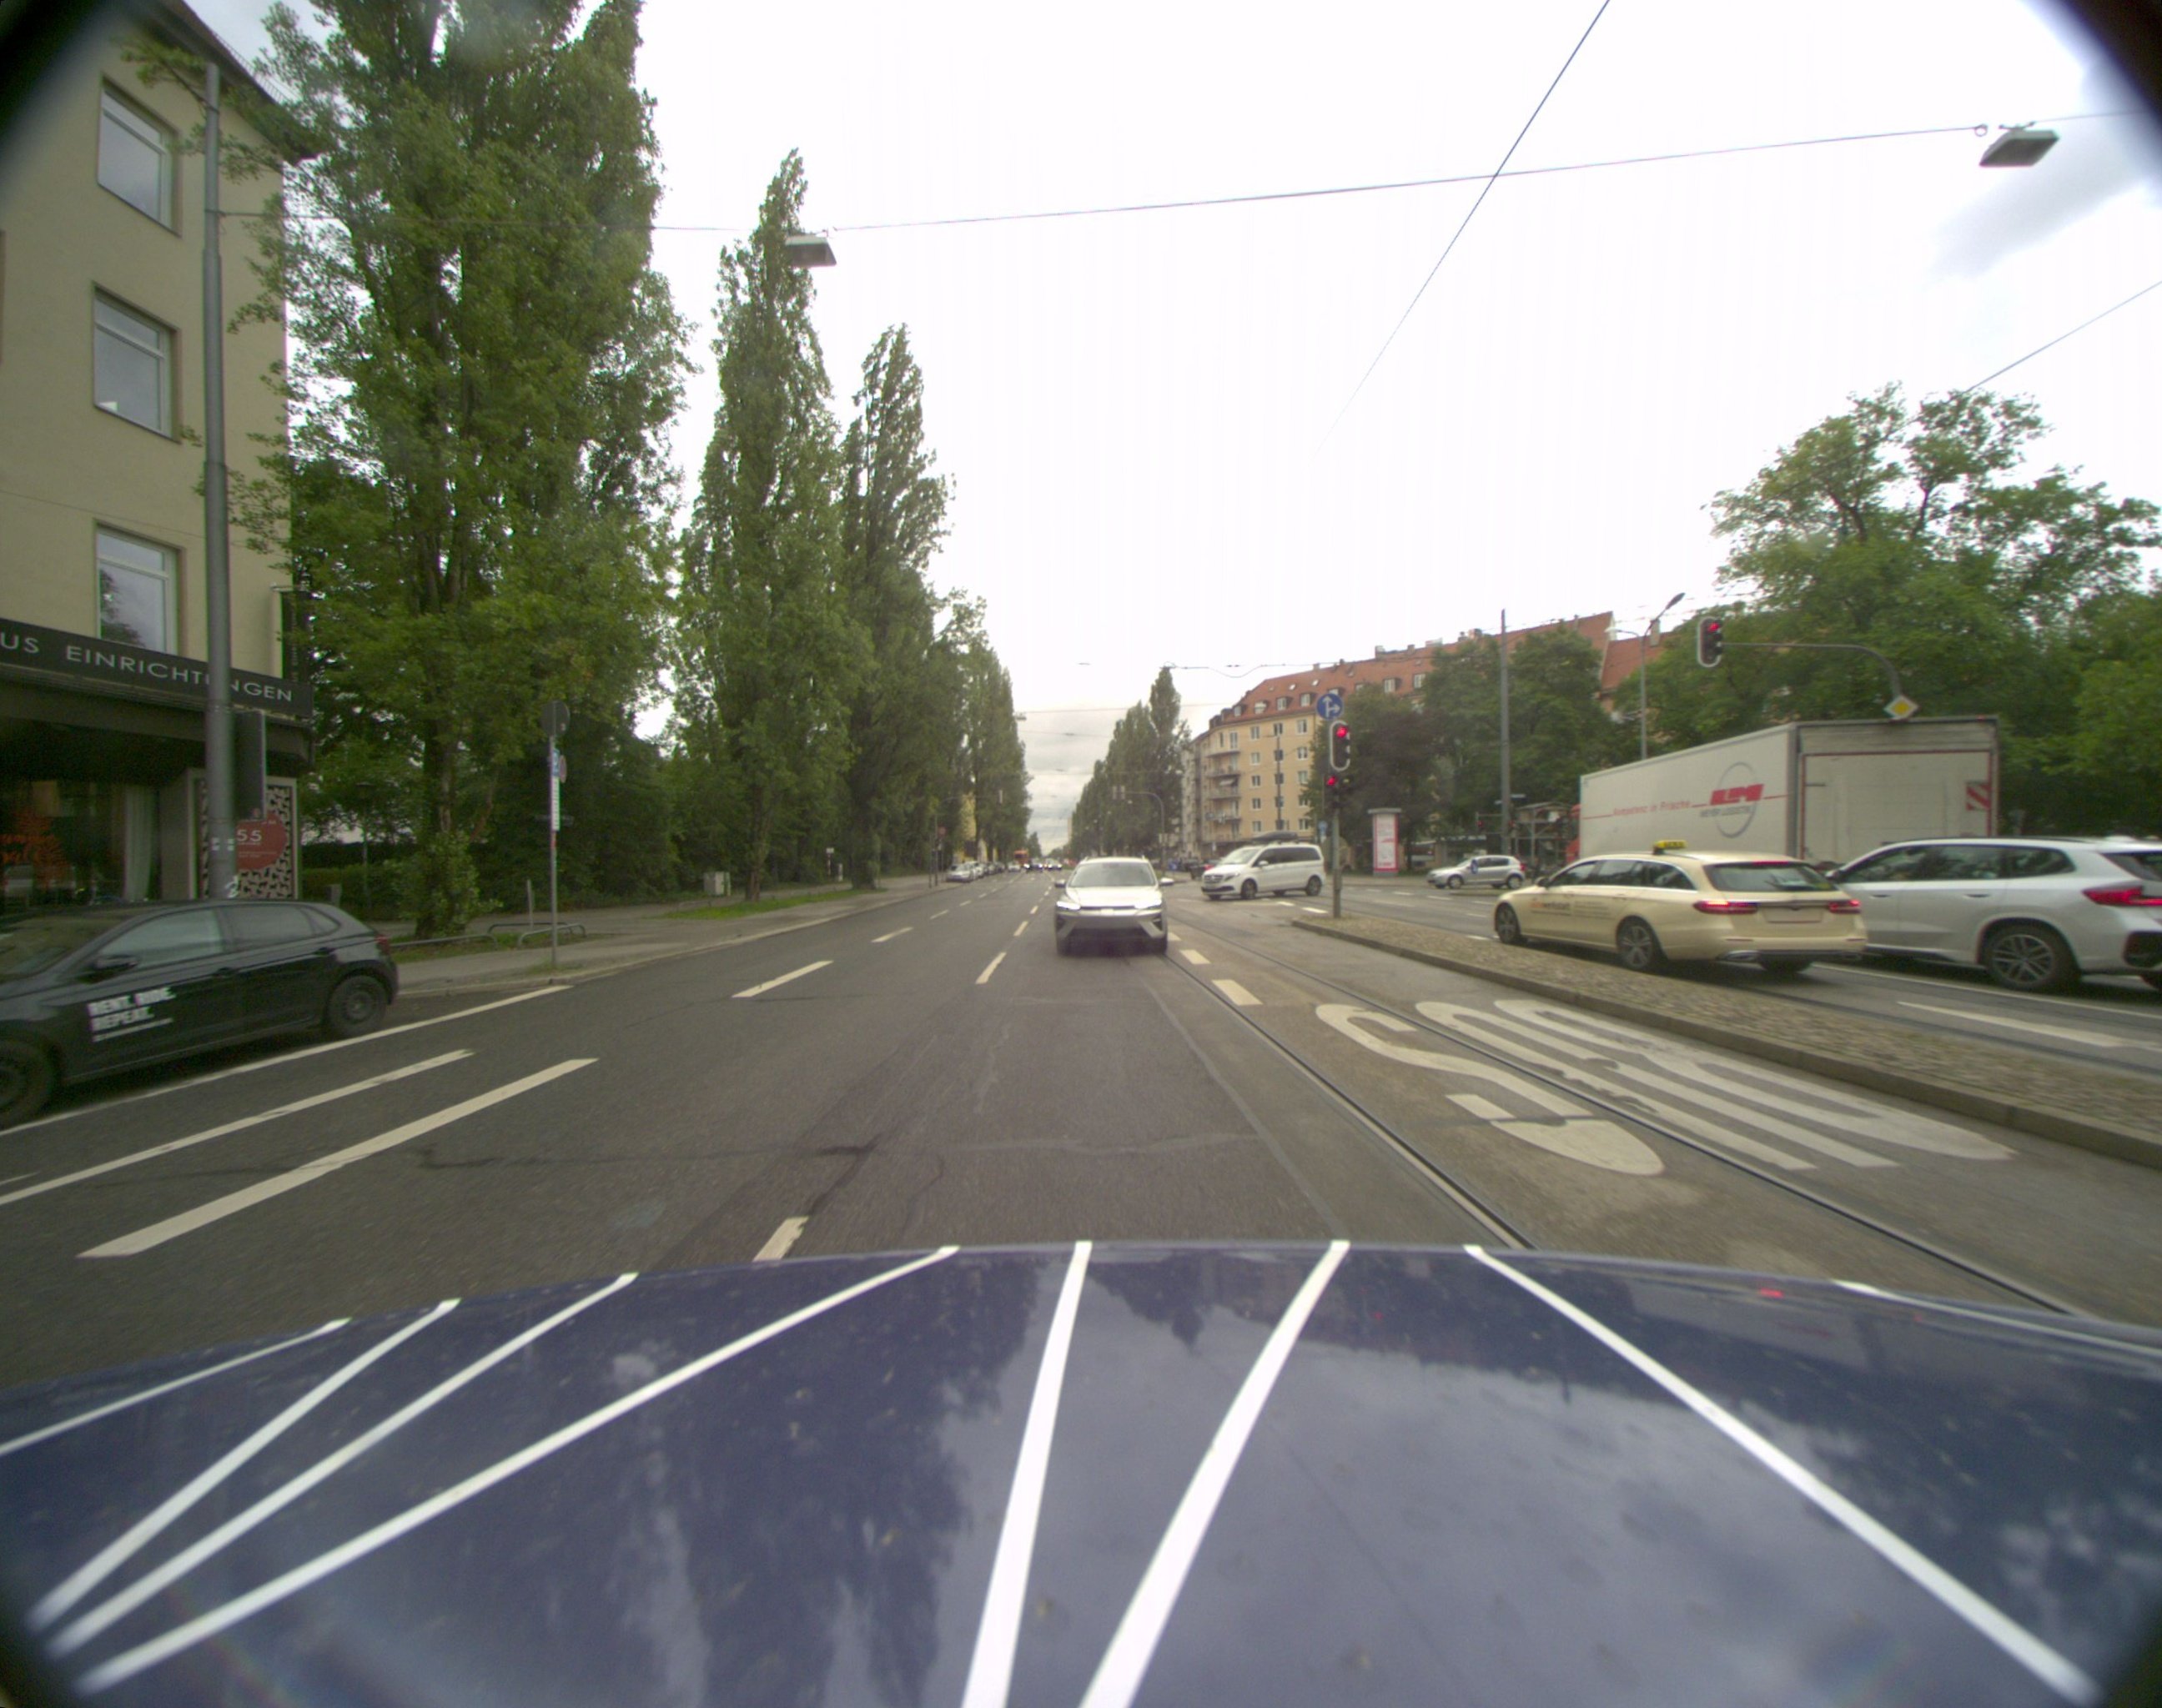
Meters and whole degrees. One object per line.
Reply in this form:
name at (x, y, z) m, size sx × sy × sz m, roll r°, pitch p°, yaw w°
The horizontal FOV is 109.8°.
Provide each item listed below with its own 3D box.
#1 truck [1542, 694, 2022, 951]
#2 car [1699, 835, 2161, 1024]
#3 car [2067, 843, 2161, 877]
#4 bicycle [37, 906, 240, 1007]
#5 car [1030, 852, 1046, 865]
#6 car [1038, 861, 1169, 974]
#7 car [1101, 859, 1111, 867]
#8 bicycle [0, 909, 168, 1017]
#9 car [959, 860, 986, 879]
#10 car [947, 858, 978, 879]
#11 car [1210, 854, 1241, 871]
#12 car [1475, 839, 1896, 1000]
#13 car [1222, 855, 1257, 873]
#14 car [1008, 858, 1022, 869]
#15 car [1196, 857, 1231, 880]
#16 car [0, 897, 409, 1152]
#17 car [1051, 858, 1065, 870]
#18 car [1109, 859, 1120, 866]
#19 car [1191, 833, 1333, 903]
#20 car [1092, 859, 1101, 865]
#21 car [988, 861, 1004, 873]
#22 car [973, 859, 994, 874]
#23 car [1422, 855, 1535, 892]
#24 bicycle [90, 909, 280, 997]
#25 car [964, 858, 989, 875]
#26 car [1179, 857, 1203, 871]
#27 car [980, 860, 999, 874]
truck at (14.438, -0.506, 17.718) m, size 2.743 × 3.957 × 11.727 m, roll 0°, pitch 0°, yaw 13°
car at (10.351, 0.650, 9.133) m, size 1.919 × 1.673 × 4.891 m, roll -1°, pitch 0°, yaw 1°
car at (49.628, 0.286, 36.029) m, size 3.659 × 1.540 × 1.525 m, roll -1°, pitch 0°, yaw 2°
bicycle at (-11.927, 1.286, 9.643) m, size 1.888 × 1.178 × 0.496 m, roll -1°, pitch 0°, yaw -1°
car at (-5.191, 0.508, 91.885) m, size 1.786 × 1.477 × 4.138 m, roll -1°, pitch 0°, yaw -2°
car at (0.333, 0.925, 12.584) m, size 1.775 × 1.515 × 4.209 m, roll -1°, pitch -1°, yaw 0°
car at (5.944, 2.084, 178.806) m, size 1.818 × 1.707 × 3.999 m, roll -1°, pitch -2°, yaw -5°
bicycle at (-12.029, 1.267, 8.943) m, size 1.888 × 1.178 × 0.496 m, roll -1°, pitch 0°, yaw -1°
car at (-9.086, 1.256, 64.138) m, size 1.785 × 1.477 × 4.258 m, roll -1°, pitch 0°, yaw -2°
car at (-8.982, 1.060, 57.884) m, size 1.786 × 1.477 × 4.351 m, roll -1°, pitch 0°, yaw -2°
car at (12.915, 0.743, 68.009) m, size 1.730 × 1.399 × 4.374 m, roll -1°, pitch 0°, yaw -3°
car at (7.481, 0.672, 10.251) m, size 1.826 × 1.629 × 4.891 m, roll -1°, pitch 0°, yaw 1°
car at (12.943, 0.808, 62.191) m, size 1.730 × 1.399 × 4.374 m, roll -1°, pitch 0°, yaw -3°
car at (-9.422, 1.353, 108.624) m, size 1.786 × 1.477 × 4.138 m, roll -1°, pitch 0°, yaw -2°
car at (8.408, 0.903, 48.669) m, size 1.727 × 1.381 × 4.800 m, roll -1°, pitch 0°, yaw 4°
car at (-7.872, 1.206, 5.887) m, size 1.804 × 1.457 × 3.999 m, roll -2°, pitch 0°, yaw -2°
car at (-3.279, 1.388, 107.236) m, size 1.786 × 1.477 × 4.138 m, roll -1°, pitch 0°, yaw -2°
car at (7.458, 1.830, 167.983) m, size 1.818 × 1.461 × 3.999 m, roll -1°, pitch -2°, yaw -5°
car at (6.561, 0.441, 27.436) m, size 4.952 × 2.337 × 1.910 m, roll -1°, pitch 0°, yaw -29°
car at (4.172, 2.212, 209.736) m, size 1.999 × 1.695 × 3.999 m, roll -1°, pitch -2°, yaw -5°
car at (-11.549, 1.723, 103.482) m, size 1.786 × 1.477 × 4.138 m, roll -1°, pitch 0°, yaw -2°
car at (-10.151, 1.288, 79.667) m, size 1.786 × 1.477 × 4.138 m, roll -1°, pitch 0°, yaw -2°
car at (17.932, 0.873, 34.355) m, size 4.207 × 1.515 × 1.776 m, roll -1°, pitch -1°, yaw -5°
bicycle at (-11.960, 1.310, 10.172) m, size 1.888 × 1.075 × 0.496 m, roll -1°, pitch 0°, yaw -1°
car at (-9.417, 1.108, 68.707) m, size 1.786 × 1.477 × 4.138 m, roll -1°, pitch 0°, yaw -2°
car at (12.032, 1.061, 83.146) m, size 1.730 × 1.399 × 4.474 m, roll -1°, pitch 0°, yaw -3°
car at (-10.428, 1.487, 86.507) m, size 1.786 × 1.477 × 4.138 m, roll -1°, pitch 0°, yaw -2°
